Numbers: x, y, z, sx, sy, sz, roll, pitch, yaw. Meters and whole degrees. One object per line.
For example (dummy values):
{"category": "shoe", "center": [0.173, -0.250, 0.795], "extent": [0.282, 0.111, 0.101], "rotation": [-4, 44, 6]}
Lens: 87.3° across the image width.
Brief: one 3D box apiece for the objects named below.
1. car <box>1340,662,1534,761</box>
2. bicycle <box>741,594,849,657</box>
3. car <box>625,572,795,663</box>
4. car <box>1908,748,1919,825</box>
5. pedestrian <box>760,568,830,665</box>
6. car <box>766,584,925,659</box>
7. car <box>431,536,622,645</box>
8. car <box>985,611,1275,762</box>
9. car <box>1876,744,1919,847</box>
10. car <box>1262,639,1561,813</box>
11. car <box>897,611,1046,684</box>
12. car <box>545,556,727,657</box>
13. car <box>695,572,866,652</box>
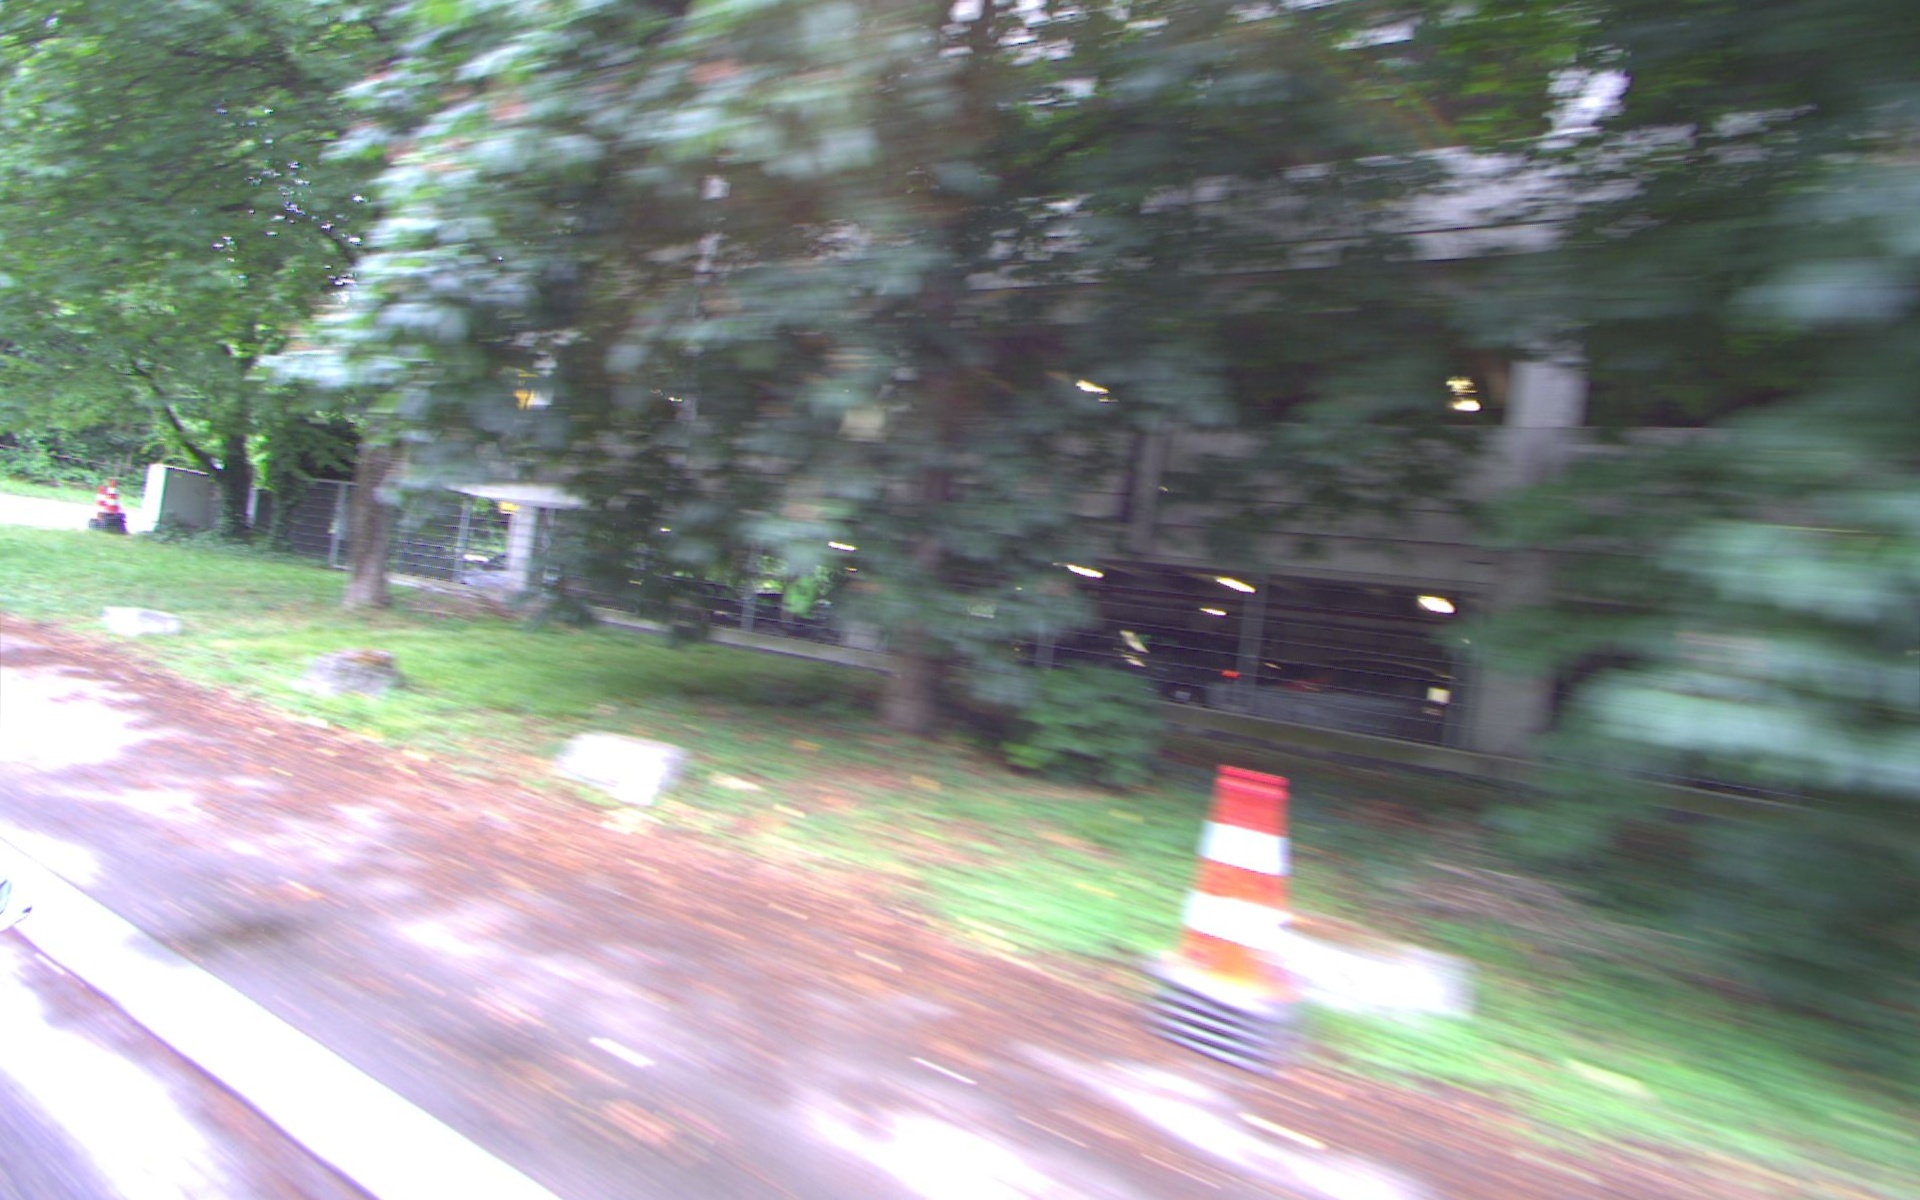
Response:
{"category": "car", "center": [10.574, 2.445, 22.363], "extent": [3.639, 1.625, 1.721], "rotation": [6, -3, 30]}
{"category": "bicycle", "center": [-2.416, 0.371, 14.696], "extent": [1.469, 0.744, 0.448], "rotation": [6, -2, 23]}
{"category": "car", "center": [-6.013, 0.413, 24.155], "extent": [3.657, 1.682, 1.734], "rotation": [6, -3, 31]}
{"category": "car", "center": [21.134, 3.949, 19.481], "extent": [3.640, 1.563, 1.721], "rotation": [6, -3, 31]}
{"category": "pedestrian", "center": [-2.466, 0.251, 15.079], "extent": [0.626, 1.332, 0.642], "rotation": [6, -2, 30]}
{"category": "car", "center": [-3.243, 0.608, 28.464], "extent": [3.933, 1.569, 1.998], "rotation": [6, -3, 31]}
{"category": "car", "center": [-8.706, -0.204, 20.139], "extent": [3.657, 1.727, 1.484], "rotation": [6, -3, 31]}
{"category": "car", "center": [3.041, 1.508, 18.222], "extent": [4.596, 2.036, 1.998], "rotation": [6, -3, 31]}
{"category": "car", "center": [16.952, 3.313, 15.613], "extent": [3.639, 1.563, 1.721], "rotation": [6, -3, 30]}
{"category": "car", "center": [7.115, 1.909, 15.904], "extent": [3.934, 2.036, 1.998], "rotation": [6, -3, 32]}
{"category": "car", "center": [0.374, 1.629, 34.908], "extent": [4.657, 1.855, 1.923], "rotation": [7, -2, 32]}
{"category": "car", "center": [-7.096, 0.127, 21.969], "extent": [3.707, 1.727, 1.584], "rotation": [6, -3, 31]}
{"category": "car", "center": [-4.741, 0.304, 26.506], "extent": [3.933, 1.569, 1.998], "rotation": [6, -3, 31]}
